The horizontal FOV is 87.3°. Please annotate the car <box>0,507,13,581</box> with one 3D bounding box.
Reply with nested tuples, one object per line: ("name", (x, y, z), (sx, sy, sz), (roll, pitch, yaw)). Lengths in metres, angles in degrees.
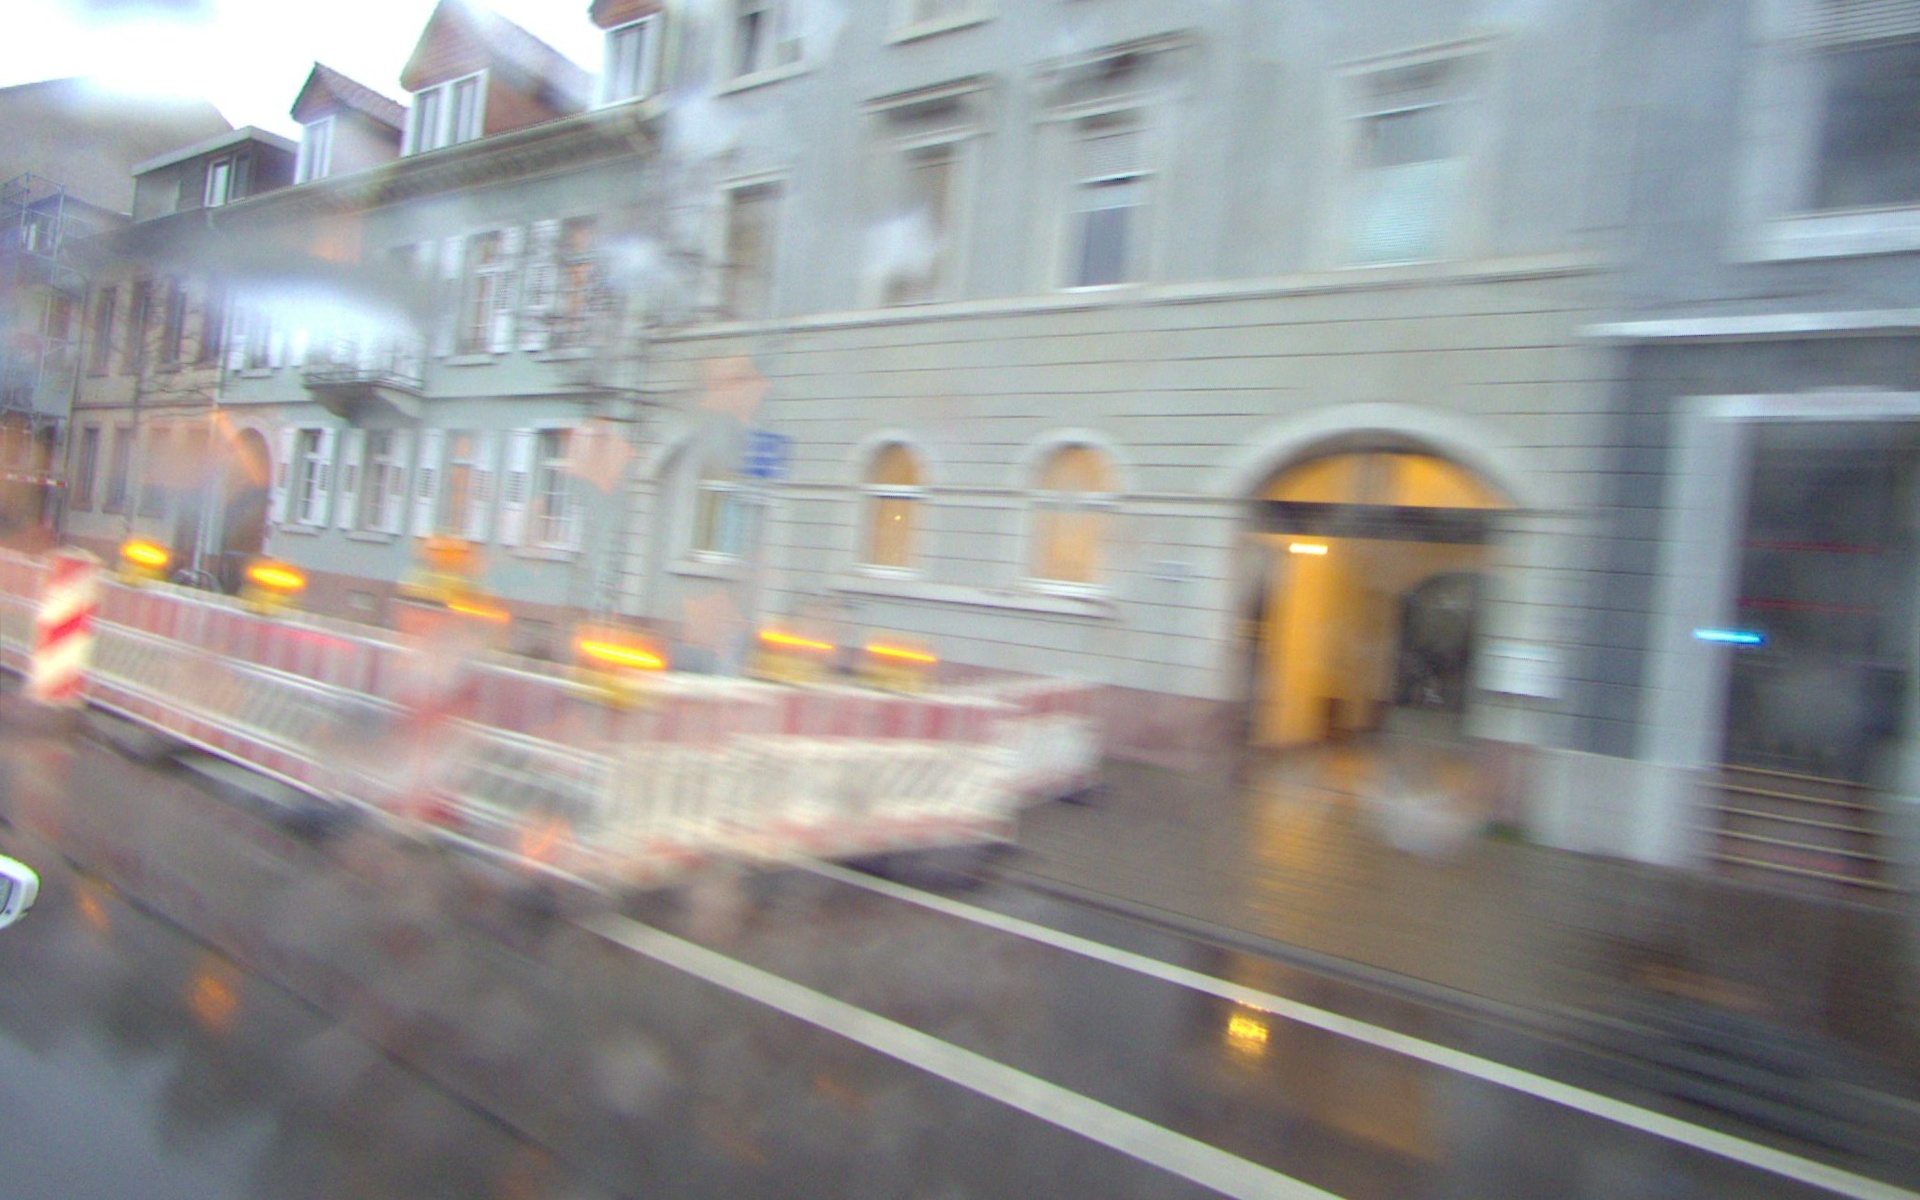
("car", (-20.956, -1.366, 19.199), (1.874, 1.535, 4.095), (8, -2, -4))
